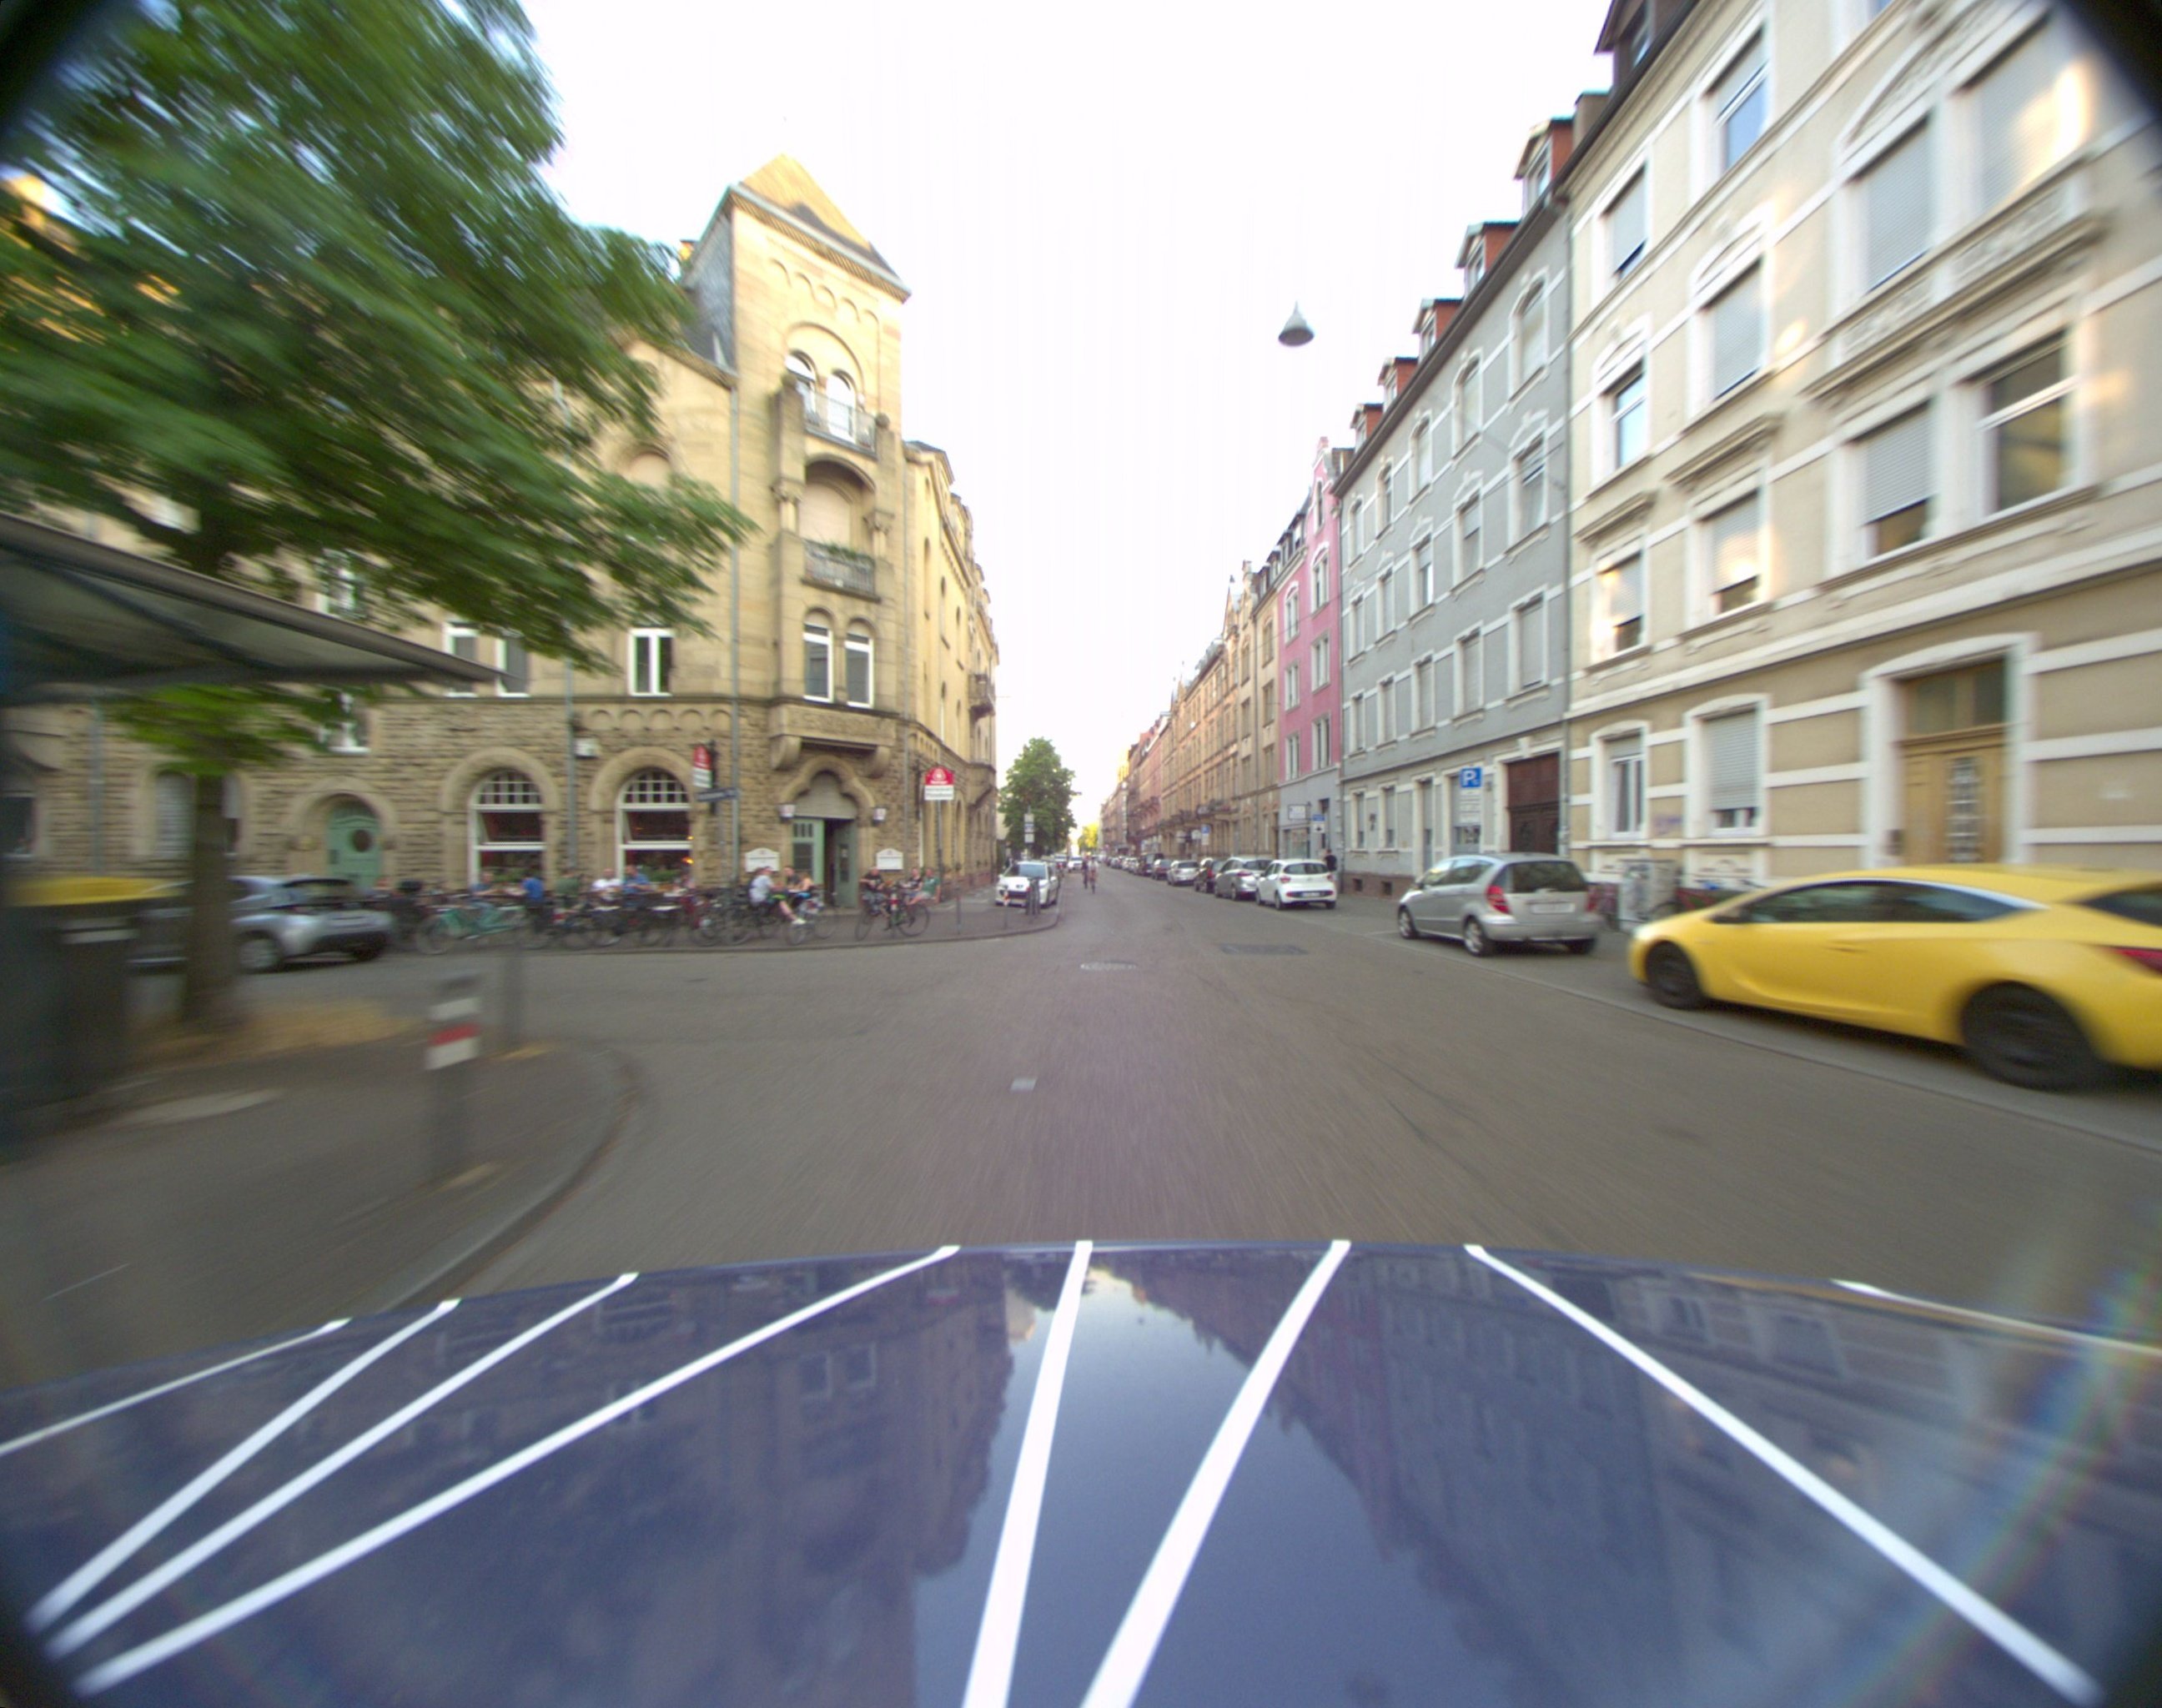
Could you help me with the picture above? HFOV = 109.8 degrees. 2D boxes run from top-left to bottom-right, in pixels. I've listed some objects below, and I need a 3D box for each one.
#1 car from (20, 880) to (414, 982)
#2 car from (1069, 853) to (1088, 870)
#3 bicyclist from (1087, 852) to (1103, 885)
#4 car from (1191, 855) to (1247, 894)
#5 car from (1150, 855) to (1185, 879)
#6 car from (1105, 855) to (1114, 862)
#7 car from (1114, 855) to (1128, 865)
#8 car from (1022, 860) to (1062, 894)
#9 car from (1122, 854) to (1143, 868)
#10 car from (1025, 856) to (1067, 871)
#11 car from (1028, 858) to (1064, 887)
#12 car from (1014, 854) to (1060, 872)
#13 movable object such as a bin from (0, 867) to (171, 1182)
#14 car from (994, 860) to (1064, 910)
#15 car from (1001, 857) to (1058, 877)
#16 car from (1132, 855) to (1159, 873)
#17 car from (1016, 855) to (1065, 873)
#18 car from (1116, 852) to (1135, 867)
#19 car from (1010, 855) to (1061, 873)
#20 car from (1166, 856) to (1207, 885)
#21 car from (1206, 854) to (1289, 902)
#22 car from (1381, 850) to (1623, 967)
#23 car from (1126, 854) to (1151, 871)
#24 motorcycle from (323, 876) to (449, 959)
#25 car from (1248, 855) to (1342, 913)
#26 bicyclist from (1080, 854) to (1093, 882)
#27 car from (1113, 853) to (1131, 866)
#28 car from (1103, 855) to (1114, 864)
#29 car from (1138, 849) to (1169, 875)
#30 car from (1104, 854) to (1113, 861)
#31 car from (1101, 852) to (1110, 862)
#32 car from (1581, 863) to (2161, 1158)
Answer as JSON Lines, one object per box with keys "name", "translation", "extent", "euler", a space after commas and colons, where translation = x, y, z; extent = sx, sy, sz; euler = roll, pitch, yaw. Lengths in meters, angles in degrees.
{"name": "car", "translation": [-13.290, 1.144, 11.888], "extent": [4.034, 1.376, 1.884], "euler": [0, 1, 1]}
{"name": "car", "translation": [-0.274, 0.821, 81.792], "extent": [1.957, 1.729, 4.284], "euler": [-3, 0, -1]}
{"name": "bicyclist", "translation": [0.672, 0.679, 35.182], "extent": [0.686, 1.503, 0.973], "euler": [-1, 0, 3]}
{"name": "car", "translation": [6.266, 0.888, 34.998], "extent": [1.757, 1.583, 4.057], "euler": [-3, 0, -1]}
{"name": "car", "translation": [6.044, 0.897, 53.425], "extent": [1.757, 1.466, 4.279], "euler": [-6, 0, -1]}
{"name": "car", "translation": [6.217, 0.927, 164.342], "extent": [1.757, 1.426, 4.057], "euler": [-6, 0, 0]}
{"name": "car", "translation": [6.406, 1.017, 122.233], "extent": [1.757, 1.426, 4.057], "euler": [-6, 0, -1]}
{"name": "car", "translation": [-1.834, 1.039, 36.586], "extent": [1.768, 1.476, 4.556], "euler": [1, 0, -1]}
{"name": "car", "translation": [5.757, 0.760, 84.852], "extent": [1.758, 1.426, 4.056], "euler": [-6, 0, -3]}
{"name": "car", "translation": [-3.574, 0.937, 77.907], "extent": [4.301, 1.519, 1.823], "euler": [-1, 0, -1]}
{"name": "car", "translation": [-1.918, 1.018, 42.578], "extent": [1.768, 1.476, 4.557], "euler": [1, 0, 0]}
{"name": "car", "translation": [-4.154, 0.863, 72.771], "extent": [4.301, 1.666, 1.823], "euler": [-1, 0, -1]}
{"name": "movable object such as a bin", "translation": [-5.776, 0.830, 3.969], "extent": [1.224, 1.467, 0.766], "euler": [2, 1, 9]}
{"name": "car", "translation": [-1.674, 0.975, 25.962], "extent": [1.767, 1.476, 4.465], "euler": [2, 0, 4]}
{"name": "car", "translation": [-3.933, 0.992, 58.840], "extent": [4.301, 1.443, 1.823], "euler": [-1, 0, -1]}
{"name": "car", "translation": [5.748, 0.882, 68.205], "extent": [1.758, 1.466, 4.056], "euler": [-6, 0, -3]}
{"name": "car", "translation": [-3.542, 0.914, 67.440], "extent": [4.301, 1.519, 1.823], "euler": [-1, 0, -1]}
{"name": "car", "translation": [5.574, 0.709, 95.164], "extent": [1.758, 1.663, 4.056], "euler": [-6, 0, -3]}
{"name": "car", "translation": [-3.887, 0.825, 65.039], "extent": [4.301, 1.519, 1.823], "euler": [-1, 0, -1]}
{"name": "car", "translation": [6.099, 0.929, 44.417], "extent": [1.757, 1.466, 4.057], "euler": [-6, 0, 1]}
{"name": "car", "translation": [6.195, 0.835, 28.779], "extent": [1.838, 1.583, 4.671], "euler": [-3, 0, -3]}
{"name": "car", "translation": [6.788, 0.778, 12.859], "extent": [1.804, 1.583, 4.145], "euler": [-3, 0, 1]}
{"name": "car", "translation": [5.698, 0.879, 75.802], "extent": [1.758, 1.466, 4.056], "euler": [-6, 0, -3]}
{"name": "motorcycle", "translation": [-12.893, 1.130, 14.184], "extent": [0.640, 1.345, 2.001], "euler": [-1, 2, -6]}
{"name": "car", "translation": [6.521, 0.860, 23.621], "extent": [1.757, 1.567, 3.927], "euler": [-3, 0, 0]}
{"name": "bicyclist", "translation": [0.285, 0.762, 42.138], "extent": [0.686, 1.503, 0.973], "euler": [-1, 0, 0]}
{"name": "car", "translation": [5.414, 0.736, 101.174], "extent": [1.758, 1.426, 4.056], "euler": [-6, 0, -3]}
{"name": "car", "translation": [5.164, 1.026, 140.974], "extent": [1.757, 1.426, 4.057], "euler": [-6, 0, 0]}
{"name": "car", "translation": [5.960, 0.662, 63.047], "extent": [1.874, 1.949, 4.291], "euler": [-4, 0, -2]}
{"name": "car", "translation": [6.029, 0.750, 169.140], "extent": [1.757, 1.426, 4.057], "euler": [-6, 0, 0]}
{"name": "car", "translation": [5.731, 0.728, 178.731], "extent": [1.757, 2.264, 4.057], "euler": [-6, 0, 0]}
{"name": "car", "translation": [6.826, 0.902, 6.411], "extent": [1.844, 1.517, 4.800], "euler": [-3, 0, -3]}
